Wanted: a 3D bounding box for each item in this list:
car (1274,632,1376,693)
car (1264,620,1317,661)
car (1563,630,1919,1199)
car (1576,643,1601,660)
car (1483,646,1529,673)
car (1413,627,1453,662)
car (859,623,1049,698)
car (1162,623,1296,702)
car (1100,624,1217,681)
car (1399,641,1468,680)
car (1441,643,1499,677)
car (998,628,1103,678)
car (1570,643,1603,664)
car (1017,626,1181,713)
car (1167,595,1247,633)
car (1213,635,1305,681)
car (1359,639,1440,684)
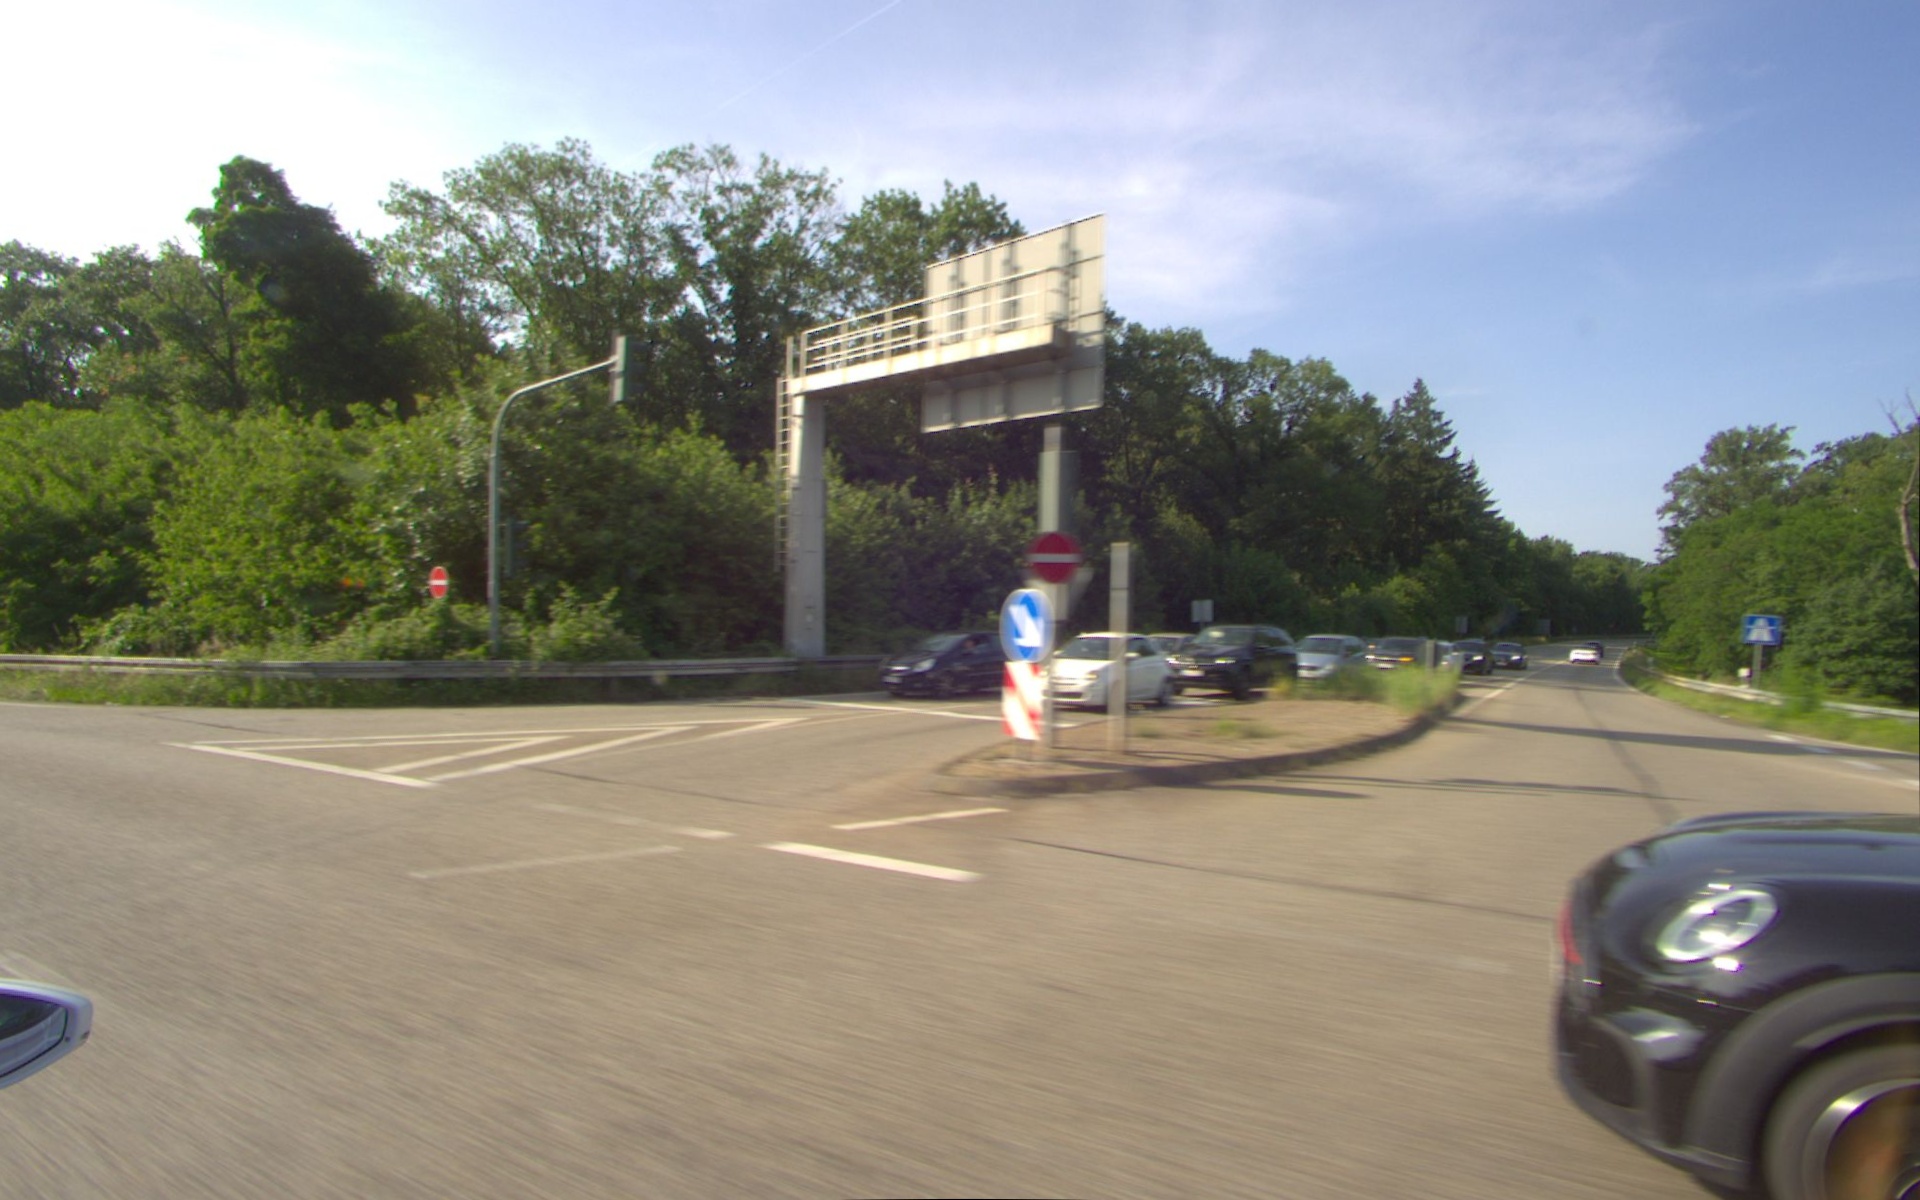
[{"bbox_3d":[11.045,1.832,30.110,1.844,1.653,4.099,1,-1,36],"label":"car"},{"bbox_3d":[17.243,2.133,52.209,1.572,2.039,3.979,0,-2,34],"label":"car"},{"bbox_3d":[3.602,0.858,2.242,3.815,1.486,1.818,0,-2,31],"label":"car"},{"bbox_3d":[58.872,4.820,93.797,1.843,1.459,4.101,1,-1,34],"label":"car"},{"bbox_3d":[31.312,3.376,57.395,1.844,1.459,4.099,1,-1,36],"label":"car"},{"bbox_3d":[28.827,2.735,60.957,1.572,2.039,3.979,0,-2,34],"label":"car"},{"bbox_3d":[-0.071,1.311,22.419,4.079,1.515,1.770,2,-1,-40],"label":"car"},{"bbox_3d":[6.664,1.477,24.510,1.844,1.731,4.099,1,-1,36],"label":"car"},{"bbox_3d":[5.877,1.513,29.342,1.844,1.515,4.099,1,-1,36],"label":"car"},{"bbox_3d":[19.466,2.453,41.079,1.844,1.459,4.099,1,-1,36],"label":"car"},{"bbox_3d":[24.191,2.796,47.450,1.844,1.459,4.099,1,-1,36],"label":"car"},{"bbox_3d":[2.724,1.531,29.542,1.471,1.330,3.616,1,-1,35],"label":"car"},{"bbox_3d":[46.940,4.019,74.978,1.844,1.459,4.099,1,-1,36],"label":"car"},{"bbox_3d":[2.864,1.323,20.024,1.784,1.522,3.588,1,-1,36],"label":"car"},{"bbox_3d":[10.381,0.610,41.861,1.844,1.459,4.099,1,-1,36],"label":"car"},{"bbox_3d":[10.402,1.962,34.649,1.844,1.459,4.099,1,-1,36],"label":"car"},{"bbox_3d":[15.681,2.144,35.608,1.844,1.459,4.099,1,-1,36],"label":"car"}]
